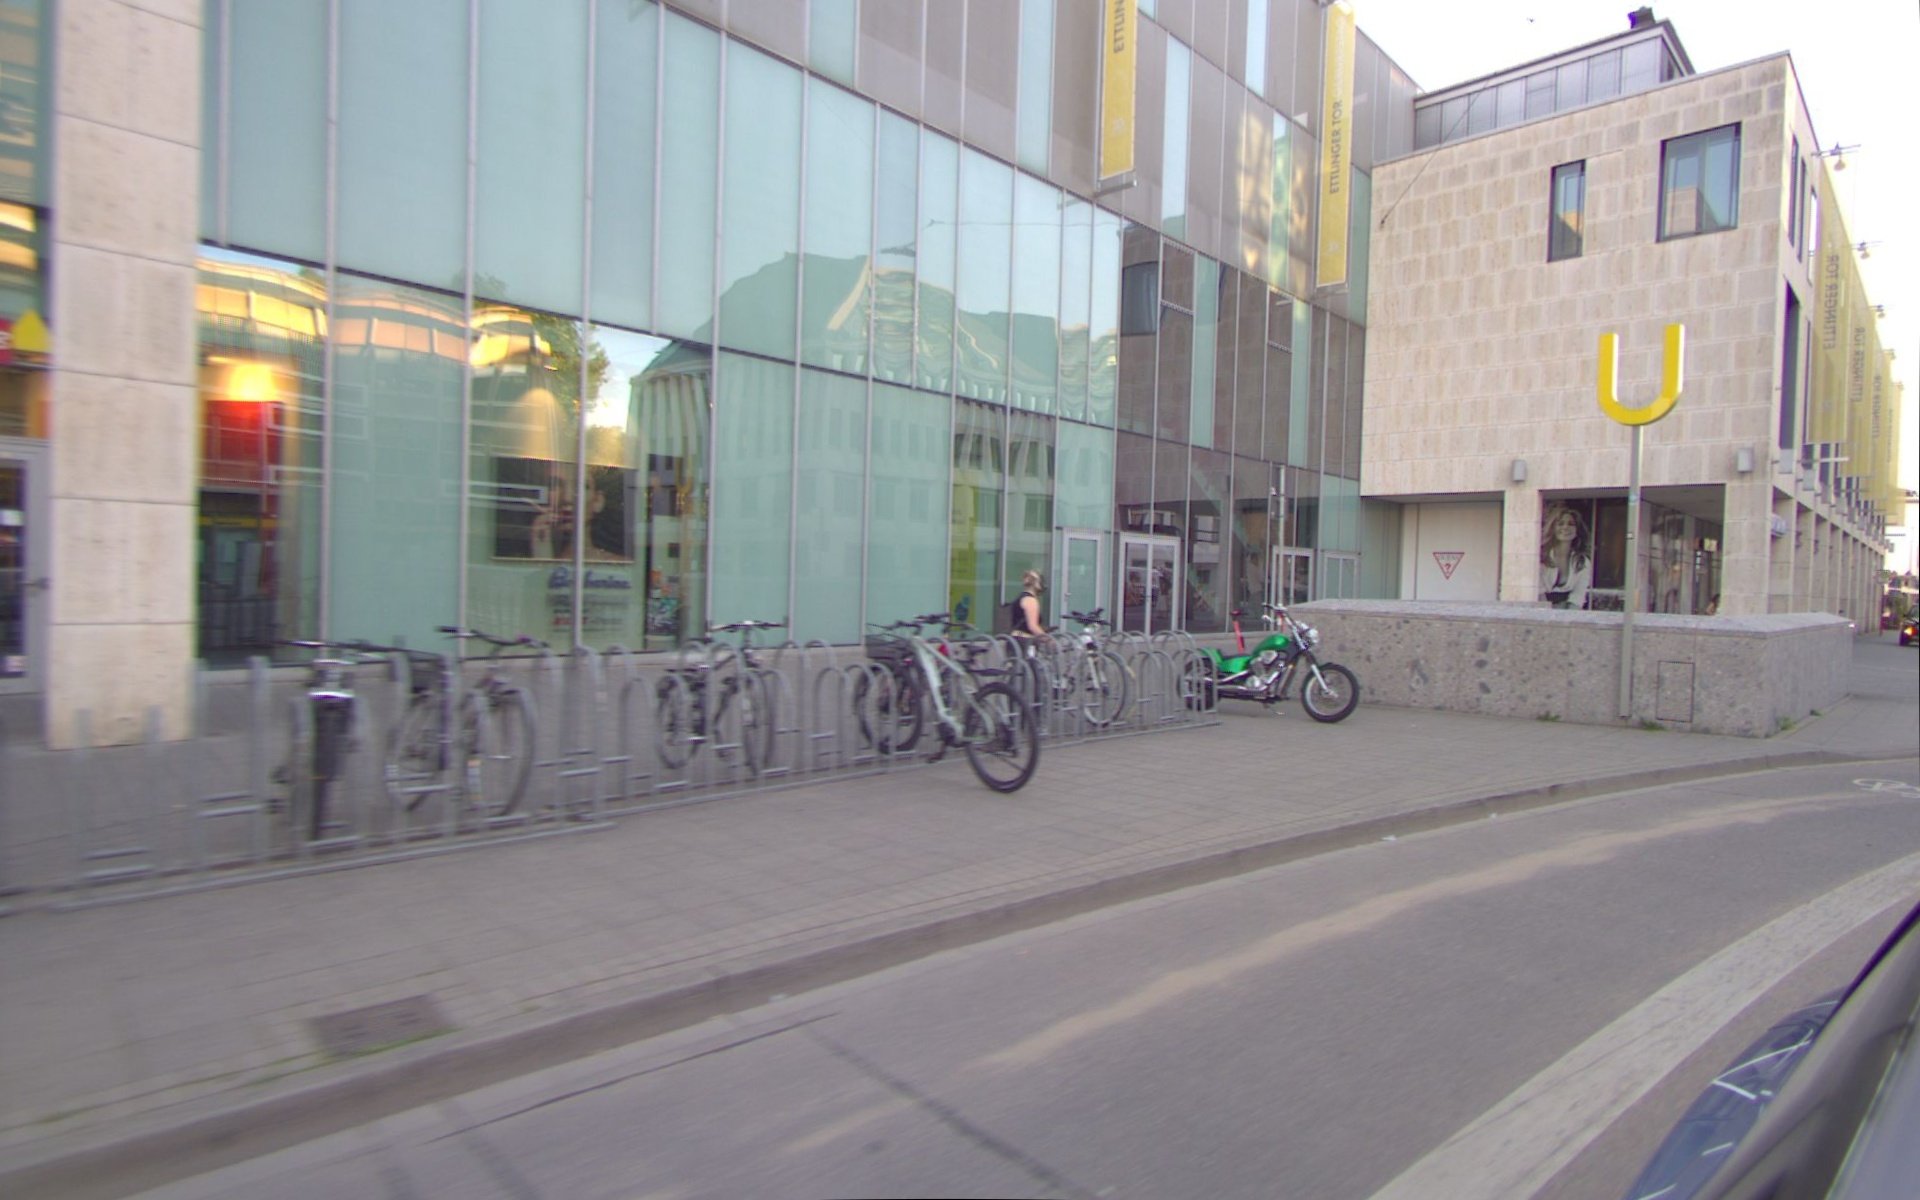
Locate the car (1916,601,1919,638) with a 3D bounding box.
[{"bbox_3d":[37.690,0.642,38.444,3.991,1.657,1.771,0,6,-45],"label":"car"}]

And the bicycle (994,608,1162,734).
[{"bbox_3d":[1.219,0.705,10.898,0.507,1.143,1.993,1,2,-39],"label":"bicycle"}]

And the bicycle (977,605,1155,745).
[{"bbox_3d":[1.018,0.697,10.270,0.507,1.193,1.993,1,2,-39],"label":"bicycle"}]

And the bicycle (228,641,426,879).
[{"bbox_3d":[-3.426,0.763,5.409,1.739,0.948,0.508,3,2,45],"label":"bicycle"}]

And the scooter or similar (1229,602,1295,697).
[{"bbox_3d":[4.192,0.669,14.032,0.852,1.273,0.399,1,1,-34],"label":"scooter or similar"}]

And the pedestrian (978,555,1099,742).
[{"bbox_3d":[0.776,0.441,10.091,0.804,1.757,0.838,1,2,-37],"label":"pedestrian"}]

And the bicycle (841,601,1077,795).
[{"bbox_3d":[-0.077,0.621,7.349,0.560,1.143,1.993,1,2,-39],"label":"bicycle"}]

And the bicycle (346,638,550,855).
[{"bbox_3d":[-3.033,0.768,5.903,1.809,0.948,0.508,3,2,45],"label":"bicycle"}]

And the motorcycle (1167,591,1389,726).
[{"bbox_3d":[3.666,0.608,11.845,2.298,1.349,0.893,3,2,43],"label":"motorcycle"}]

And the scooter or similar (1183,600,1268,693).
[{"bbox_3d":[3.792,0.657,14.494,1.098,1.273,0.398,1,1,8],"label":"scooter or similar"}]

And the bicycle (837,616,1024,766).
[{"bbox_3d":[-0.316,0.727,8.860,0.546,1.144,1.992,1,-1,-39],"label":"bicycle"}]

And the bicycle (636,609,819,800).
[{"bbox_3d":[-1.740,0.686,7.363,0.507,1.143,1.768,1,2,-41],"label":"bicycle"}]

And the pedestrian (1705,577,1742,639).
[{"bbox_3d":[19.624,0.196,25.997,0.634,1.561,0.763,2,1,44],"label":"pedestrian"}]
